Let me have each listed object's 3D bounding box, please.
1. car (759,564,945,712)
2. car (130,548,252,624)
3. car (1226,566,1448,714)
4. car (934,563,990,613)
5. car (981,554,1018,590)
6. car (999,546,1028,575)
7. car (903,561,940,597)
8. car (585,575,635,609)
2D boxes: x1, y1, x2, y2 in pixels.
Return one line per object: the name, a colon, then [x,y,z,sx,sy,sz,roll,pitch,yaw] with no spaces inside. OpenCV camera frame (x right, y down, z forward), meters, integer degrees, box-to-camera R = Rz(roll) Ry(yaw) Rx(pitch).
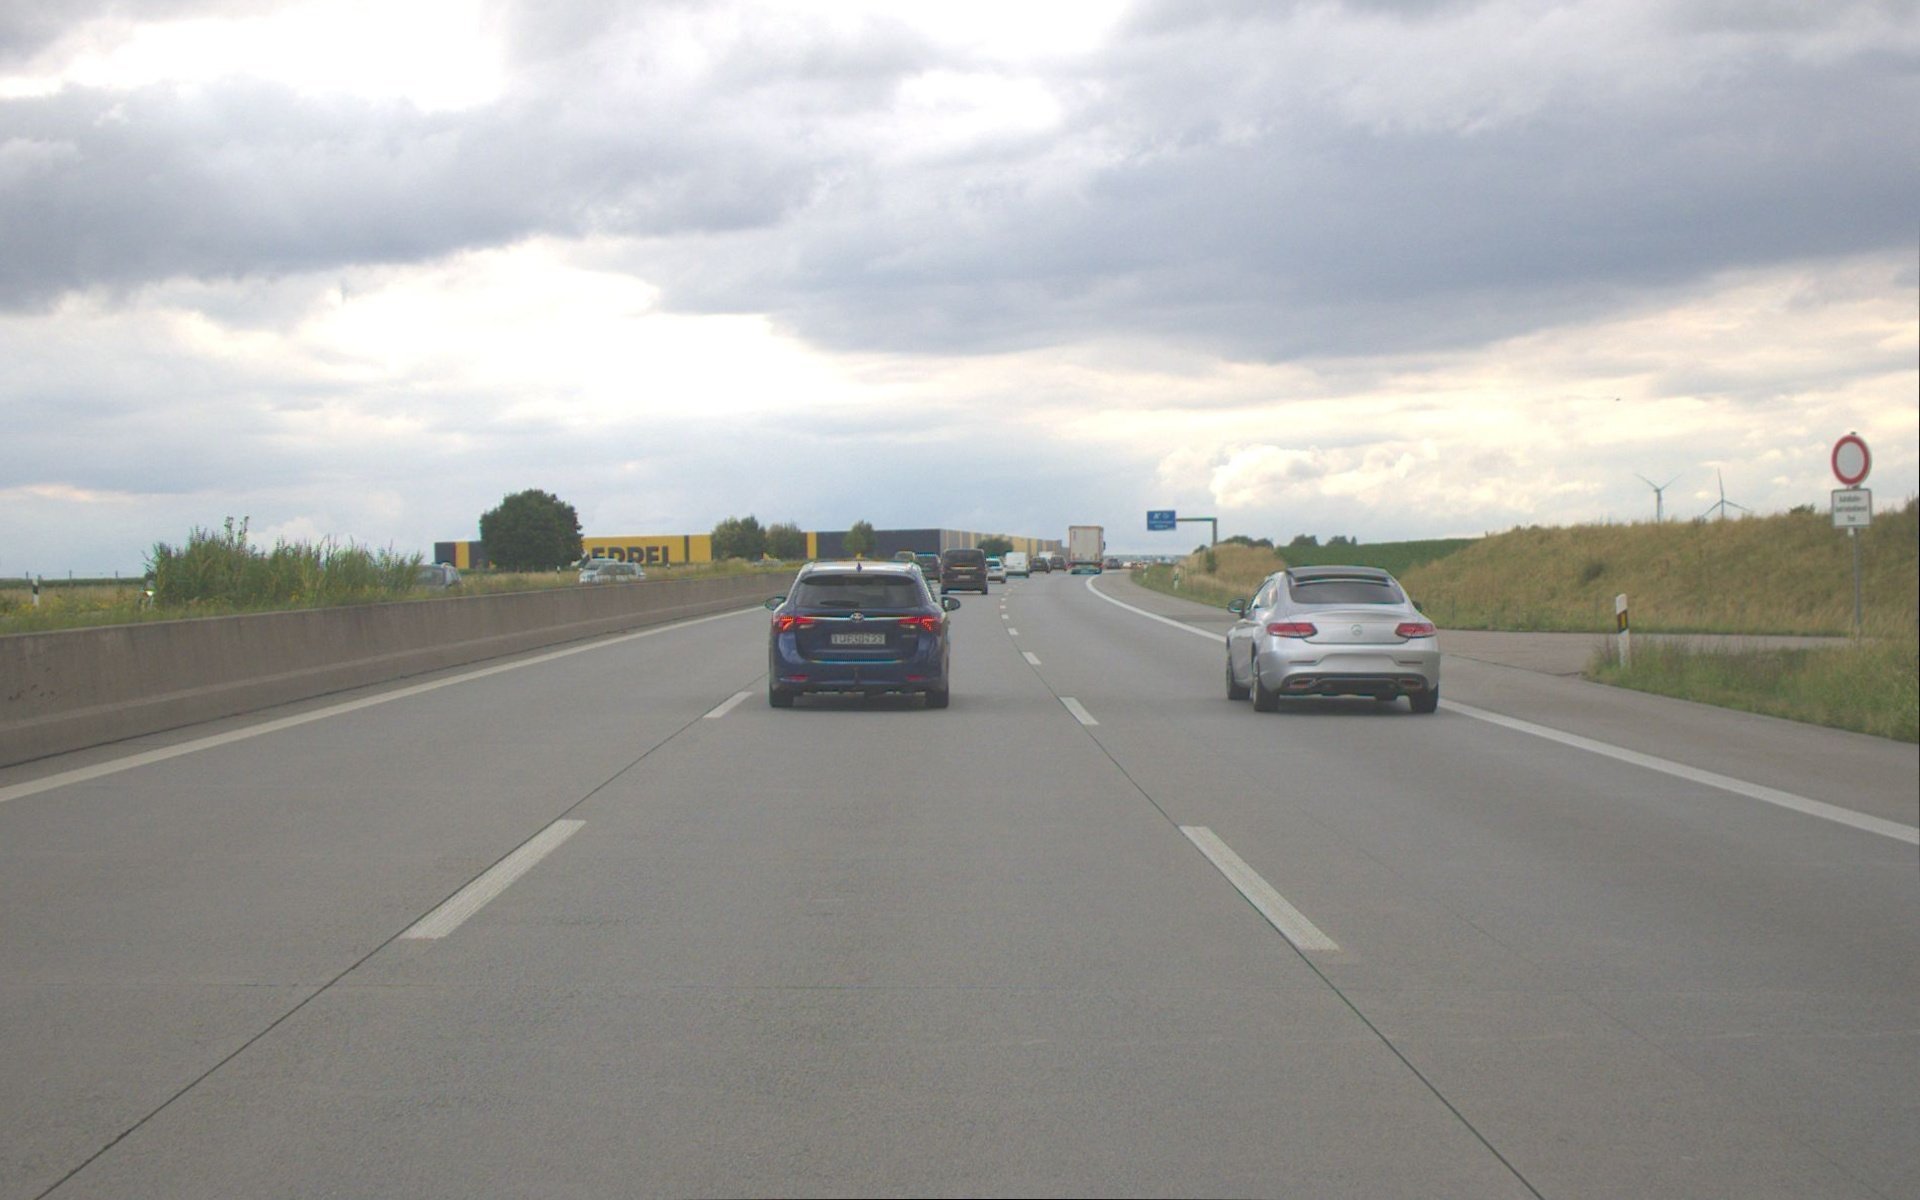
car: [-1.083,0.354,34.832,1.774,1.408,4.000,0,0,-1]
car: [-16.346,-0.323,73.220,1.656,1.562,4.223,0,1,0]
car: [3.724,0.364,34.594,1.788,1.399,4.221,0,0,0]
car: [0.051,-0.478,139.902,1.993,2.007,4.000,1,0,-4]
car: [2.260,-1.583,194.760,1.993,2.007,4.000,1,1,2]
car: [3.776,-2.789,243.383,1.993,2.007,4.000,1,0,1]
car: [-2.190,-1.173,195.431,2.046,2.007,4.000,1,0,0]
car: [-15.789,-0.341,155.333,1.778,1.502,4.517,1,0,0]
